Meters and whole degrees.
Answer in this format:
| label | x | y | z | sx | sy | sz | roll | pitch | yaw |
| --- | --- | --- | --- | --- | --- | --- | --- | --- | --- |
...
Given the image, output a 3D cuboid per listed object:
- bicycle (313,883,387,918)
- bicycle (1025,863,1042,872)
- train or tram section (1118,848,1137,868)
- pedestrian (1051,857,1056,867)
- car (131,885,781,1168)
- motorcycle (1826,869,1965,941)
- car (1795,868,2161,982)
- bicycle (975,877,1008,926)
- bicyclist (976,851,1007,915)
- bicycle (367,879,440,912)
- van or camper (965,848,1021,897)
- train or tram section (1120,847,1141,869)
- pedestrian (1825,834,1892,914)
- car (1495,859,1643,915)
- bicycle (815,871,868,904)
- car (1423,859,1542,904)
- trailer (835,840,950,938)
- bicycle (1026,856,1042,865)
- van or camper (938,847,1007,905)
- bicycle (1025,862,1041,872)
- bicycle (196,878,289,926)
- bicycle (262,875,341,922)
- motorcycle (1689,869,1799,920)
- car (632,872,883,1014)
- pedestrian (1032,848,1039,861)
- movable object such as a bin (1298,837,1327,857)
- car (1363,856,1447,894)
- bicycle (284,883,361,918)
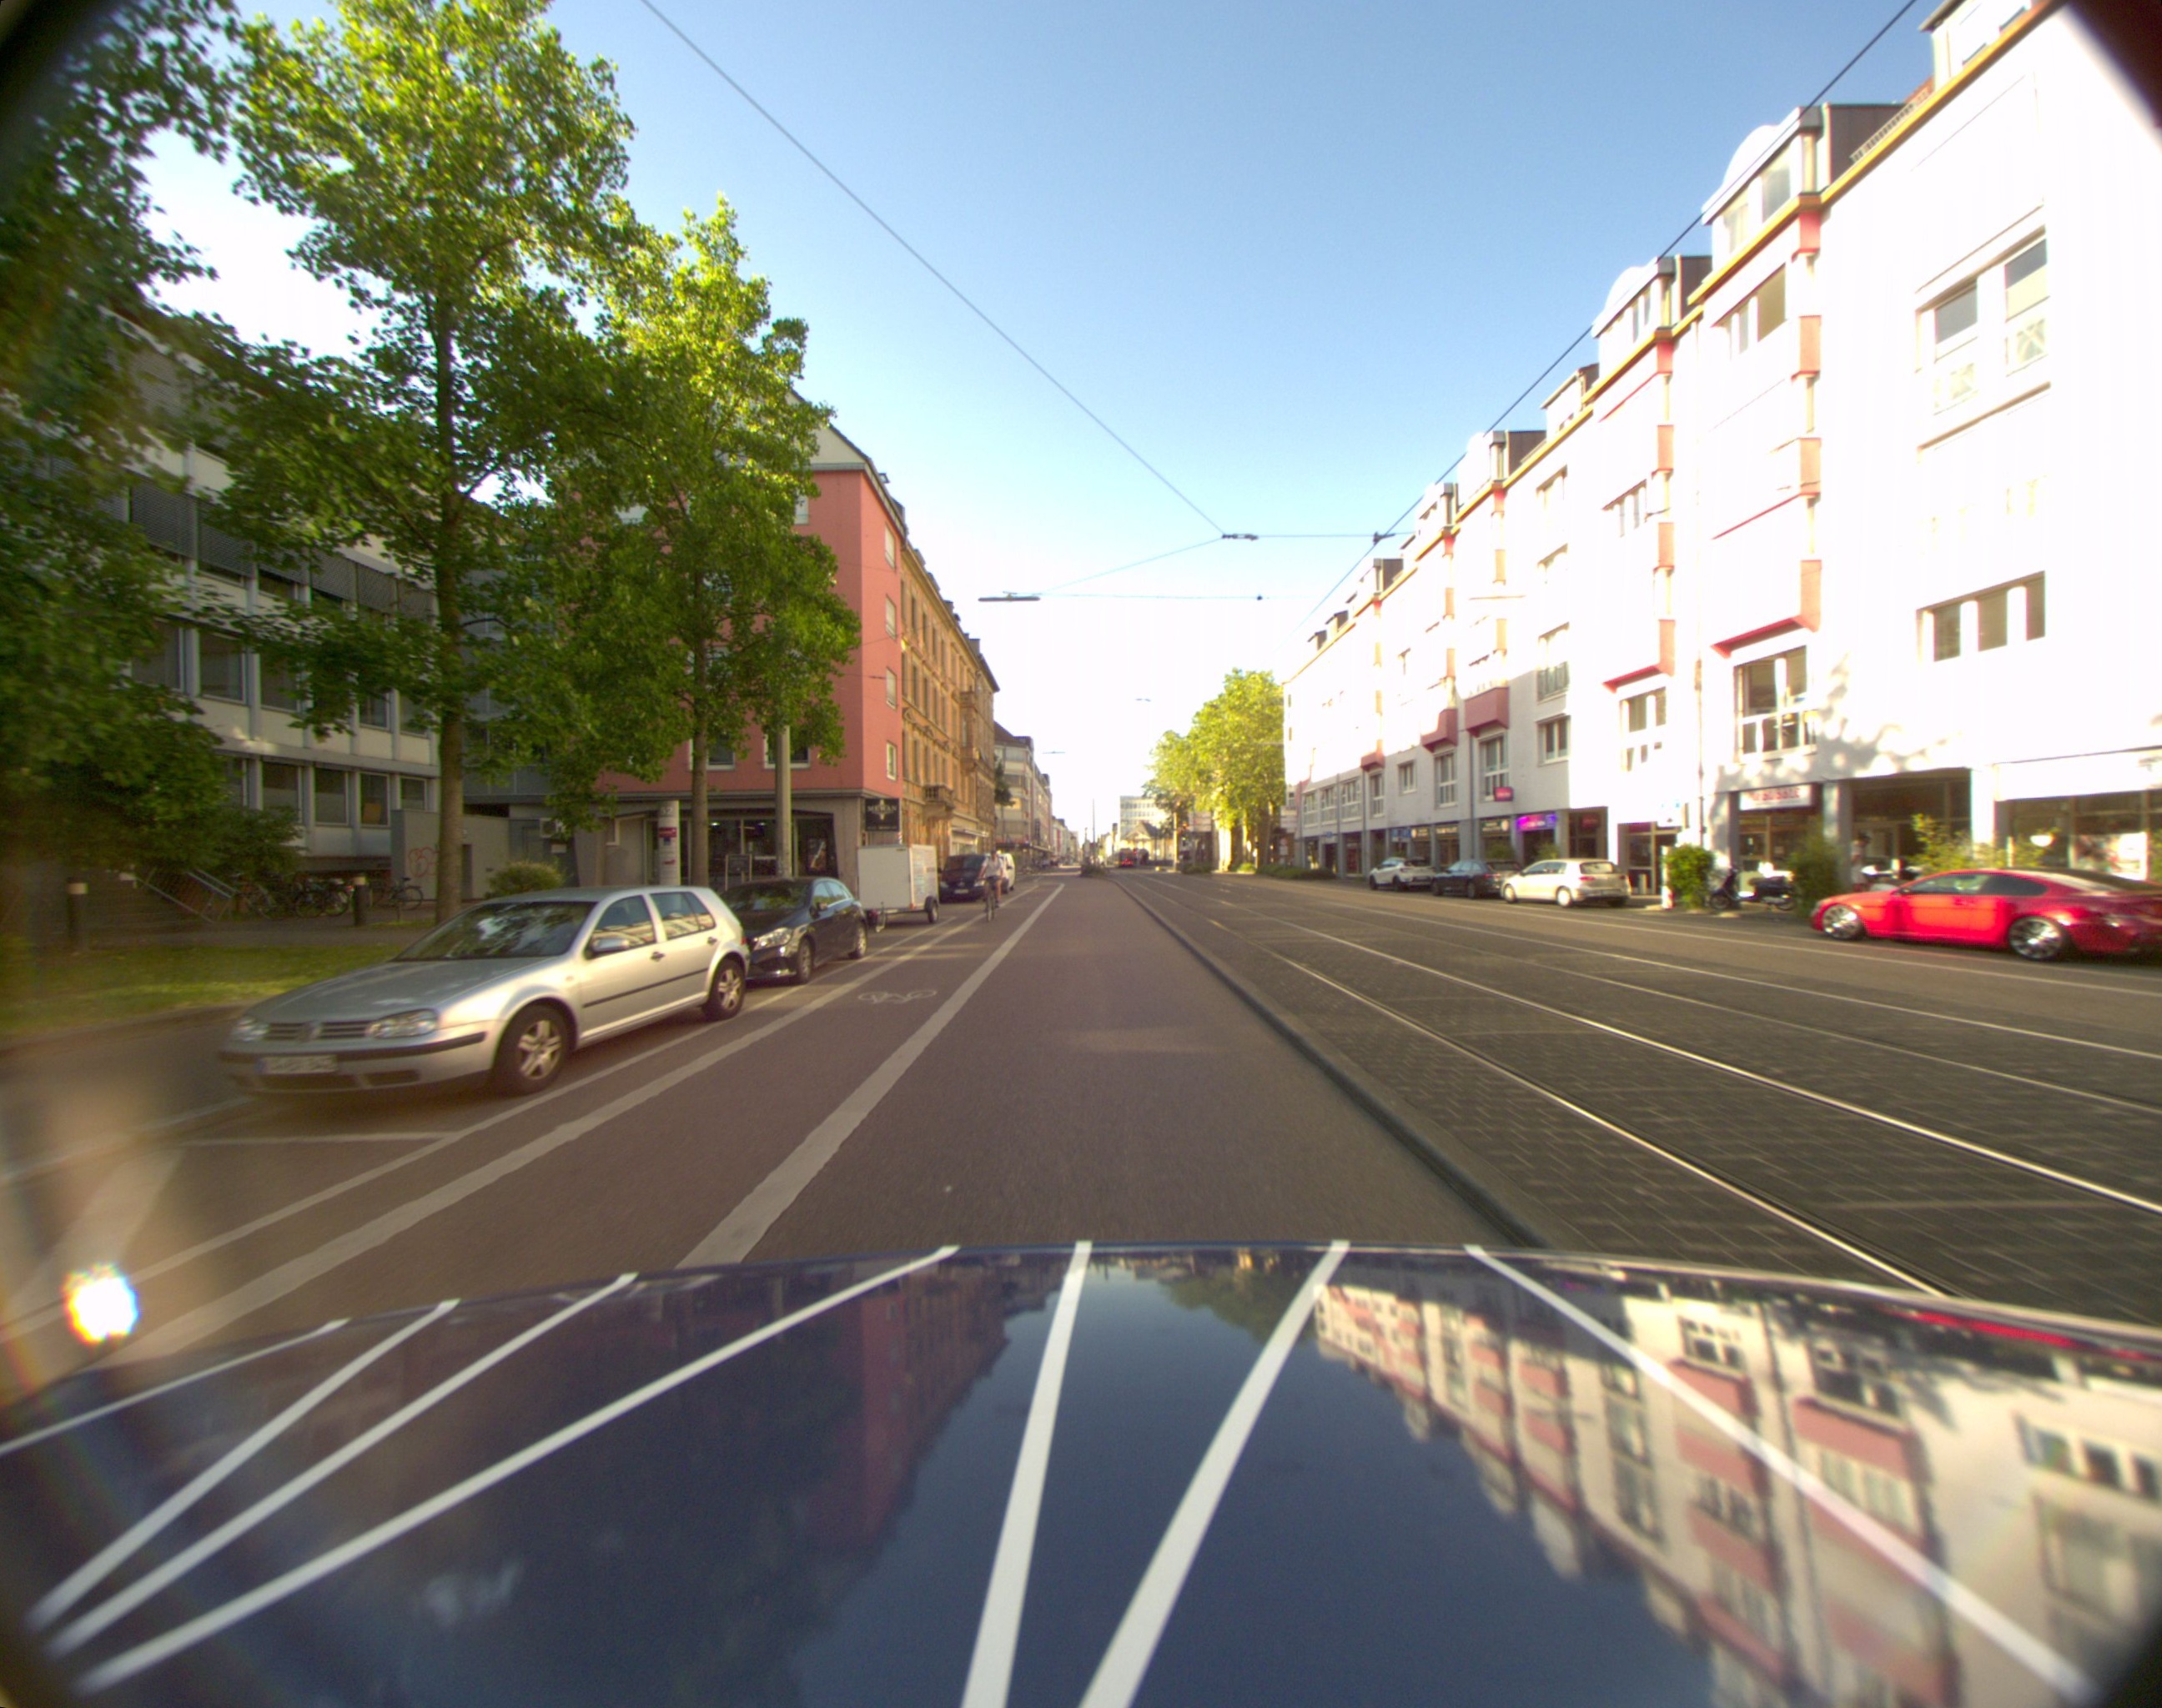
| label | x | y | z | sx | sy | sz | roll | pitch | yaw |
| --- | --- | --- | --- | --- | --- | --- | --- | --- | --- |
| bicycle | -19.543 | 1.240 | 20.323 | 1.587 | 0.871 | 0.449 | 1 | 1 | 2 |
| bicycle | -5.684 | 1.620 | 90.341 | 1.950 | 1.100 | 0.564 | -1 | 0 | -1 |
| train or tram section | 9.314 | 0.810 | 152.622 | 2.981 | 3.623 | 13.944 | -3 | 0 | 1 |
| pedestrian | -4.691 | 1.399 | 129.337 | 0.669 | 1.718 | 0.810 | 1 | 1 | 0 |
| car | -4.534 | 1.110 | 6.588 | 1.753 | 1.434 | 4.316 | -2 | 0 | 6 |
| motorcycle | 16.356 | 0.973 | 15.345 | 0.520 | 1.290 | 2.082 | -3 | 0 | 0 |
| car | 14.640 | 0.951 | 12.120 | 1.965 | 1.317 | 4.820 | -1 | 0 | 0 |
| bicycle | -2.356 | 1.223 | 20.185 | 0.649 | 1.132 | 2.095 | -1 | 1 | -1 |
| bicyclist | -2.376 | 0.746 | 20.238 | 0.656 | 1.646 | 0.927 | -2 | 1 | -1 |
| bicycle | -19.801 | 1.206 | 22.214 | 1.588 | 0.957 | 0.449 | 0 | 1 | -10 |
| van or camper | -4.138 | 0.803 | 36.611 | 1.936 | 2.025 | 5.474 | -3 | 1 | 0 |
| train or tram section | 8.866 | 0.744 | 137.619 | 2.981 | 3.623 | 16.488 | -3 | -1 | 2 |
| pedestrian | 18.448 | 0.468 | 18.038 | 0.822 | 1.832 | 0.717 | -3 | 0 | -9 |
| car | 14.916 | 0.944 | 23.531 | 1.756 | 1.466 | 4.206 | -1 | 0 | -2 |
| bicycle | -8.894 | 1.230 | 28.262 | 0.426 | 1.126 | 1.885 | 0 | 1 | 42 |
| car | 14.891 | 0.968 | 28.528 | 1.906 | 1.449 | 4.825 | -1 | 0 | 0 |
| trailer | -4.559 | 0.766 | 18.935 | 1.665 | 2.104 | 3.842 | -3 | 1 | 2 |
| bicycle | -5.737 | 0.803 | 92.362 | 1.950 | 1.100 | 0.564 | -1 | 0 | -1 |
| van or camper | -4.257 | 0.807 | 30.597 | 1.976 | 2.034 | 5.330 | -3 | 0 | -1 |
| bicycle | -5.662 | 1.509 | 89.692 | 1.950 | 1.100 | 0.564 | -1 | 0 | -1 |
| bicycle | -19.740 | 1.131 | 17.907 | 1.588 | 1.108 | 0.449 | 0 | 1 | -5 |
| bicycle | -19.619 | 1.112 | 19.139 | 1.587 | 1.119 | 0.449 | 1 | 1 | 2 |
| motorcycle | 16.462 | 0.976 | 18.939 | 0.462 | 1.187 | 2.079 | -3 | 0 | -17 |
| car | -4.425 | 1.119 | 11.237 | 1.807 | 1.427 | 4.323 | -4 | 1 | -1 |
| pedestrian | -6.021 | 0.052 | 100.872 | 0.746 | 1.717 | 0.814 | -3 | 1 | 1 |
| movable object such as a bin | 24.139 | -0.686 | 79.218 | 2.644 | 2.002 | 1.177 | -1 | 1 | 24 |
| car | 15.167 | 0.934 | 35.816 | 1.922 | 1.604 | 4.368 | -1 | 0 | -2 |
| bicycle | -19.768 | 1.205 | 19.808 | 1.587 | 0.871 | 0.449 | 1 | 1 | 2 |
